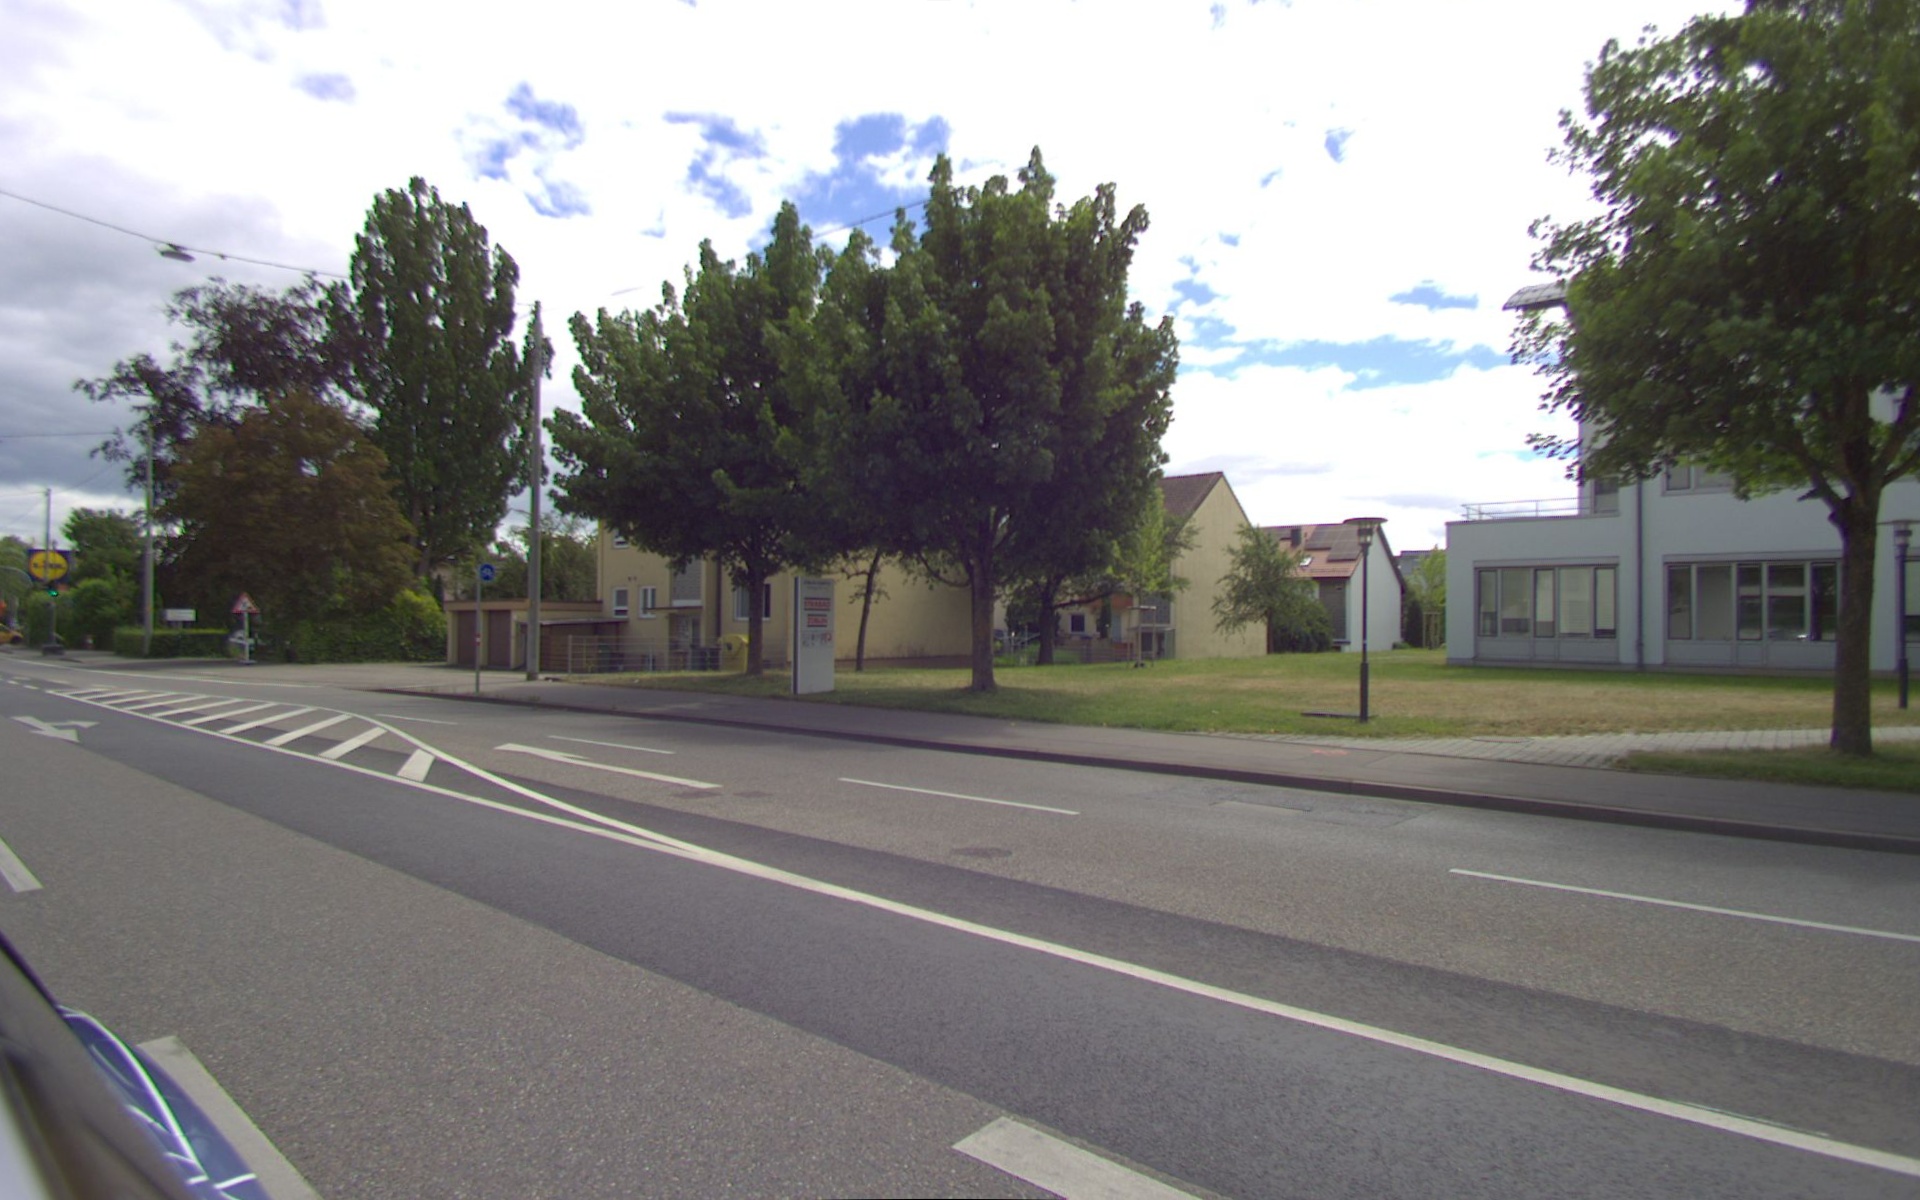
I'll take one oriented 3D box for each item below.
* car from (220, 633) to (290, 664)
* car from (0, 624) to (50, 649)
[{"bbox_3d":[-34.767,2.383,49.917,3.515,1.399,1.646,0,-4,35],"label":"car"},{"bbox_3d":[-74.306,2.835,79.544,1.973,1.797,3.998,-1,1,2],"label":"car"}]
